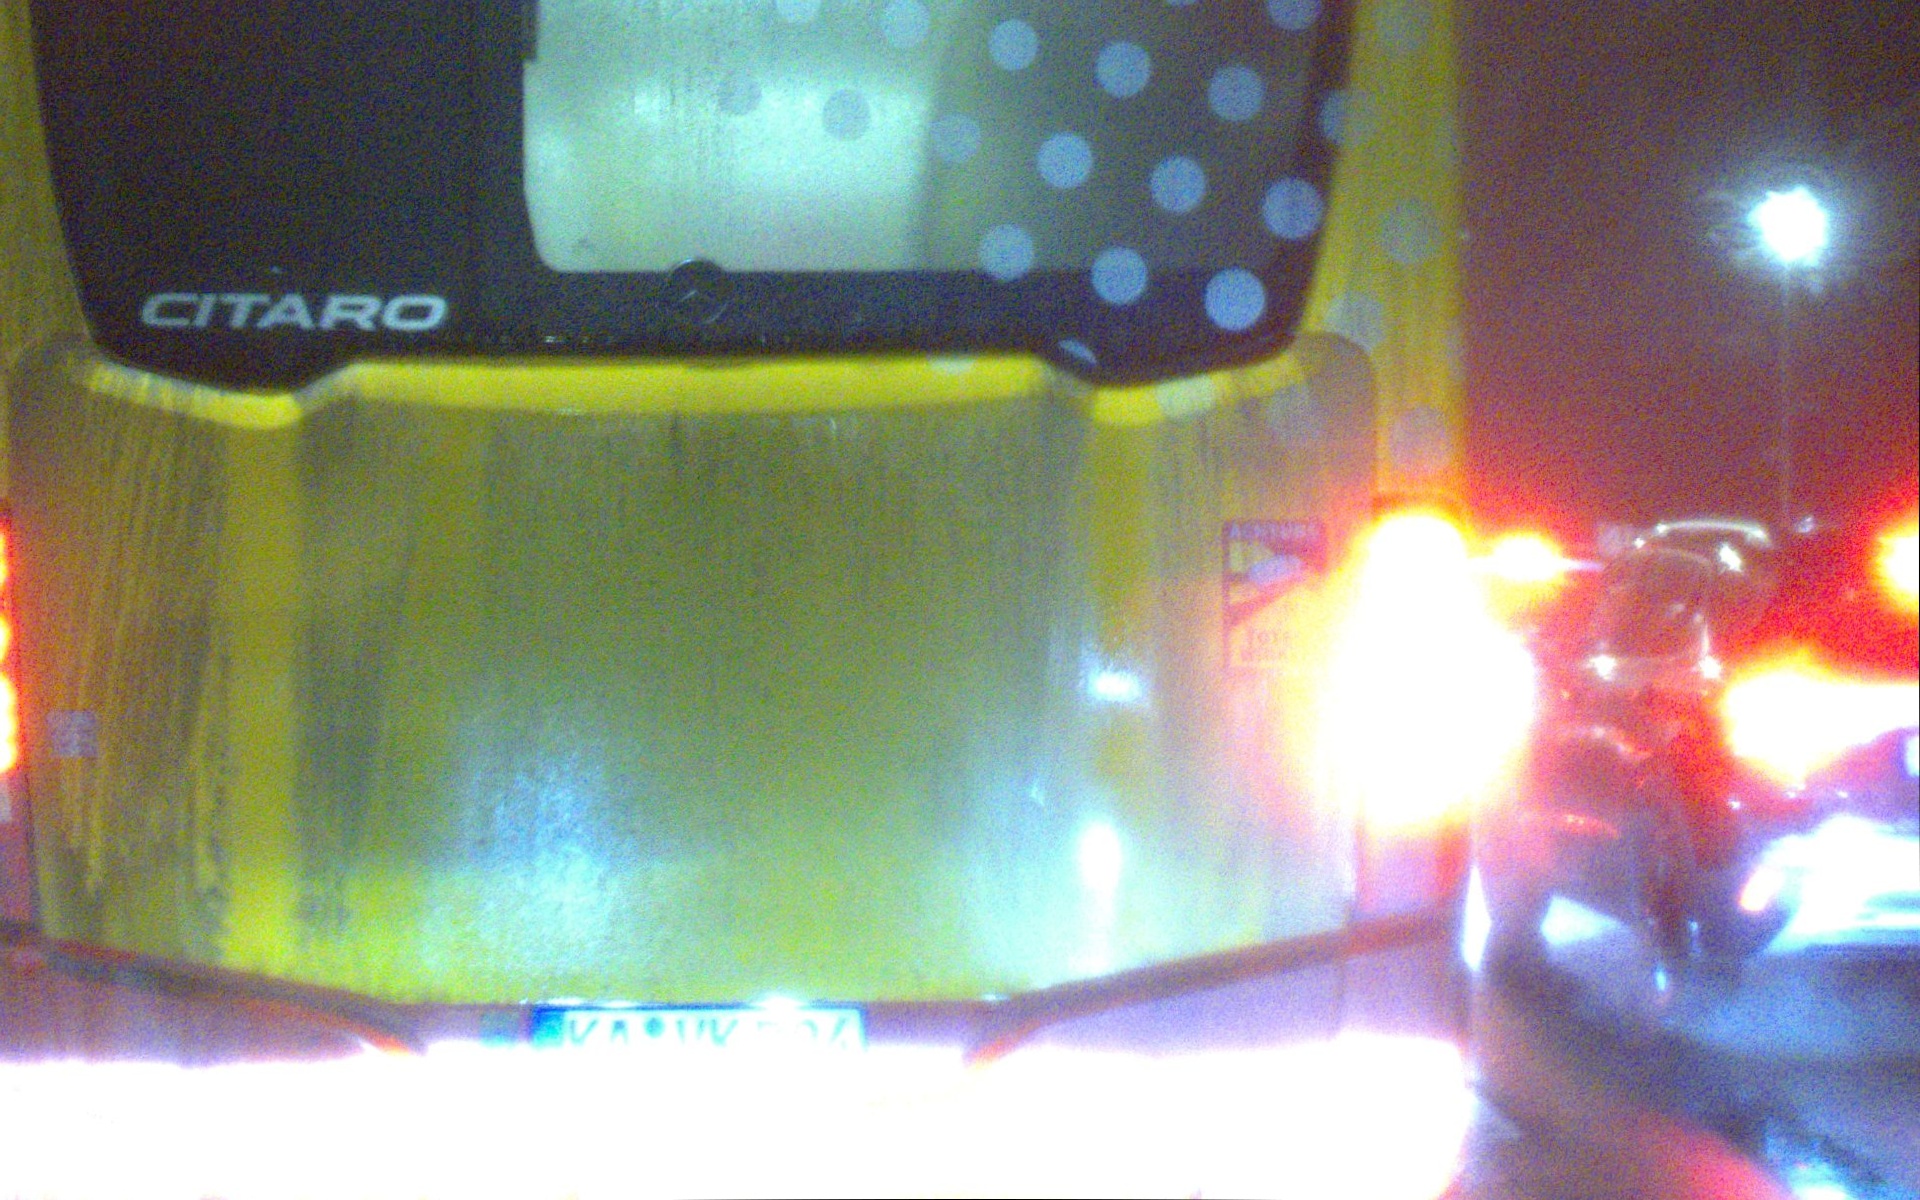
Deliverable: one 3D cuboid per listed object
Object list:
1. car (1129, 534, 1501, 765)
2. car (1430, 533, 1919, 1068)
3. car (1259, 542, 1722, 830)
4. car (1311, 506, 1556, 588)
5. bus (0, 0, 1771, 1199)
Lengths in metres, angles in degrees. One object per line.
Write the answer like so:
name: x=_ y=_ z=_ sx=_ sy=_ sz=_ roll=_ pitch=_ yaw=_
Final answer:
car: x=2.349 y=0.293 z=23.792 sx=1.993 sy=1.436 sz=4.000 roll=1 pitch=1 yaw=-2
car: x=2.832 y=0.558 z=11.793 sx=1.677 sy=1.516 sz=3.961 roll=1 pitch=1 yaw=-3
car: x=2.646 y=0.370 z=17.998 sx=1.686 sy=1.326 sz=3.961 roll=-1 pitch=1 yaw=-2
car: x=9.429 y=-1.066 z=68.630 sx=4.482 sy=1.513 sz=1.858 roll=1 pitch=3 yaw=-8
bus: x=-0.623 y=-0.312 z=9.833 sx=3.285 sy=3.039 sz=9.546 roll=0 pitch=2 yaw=-2
